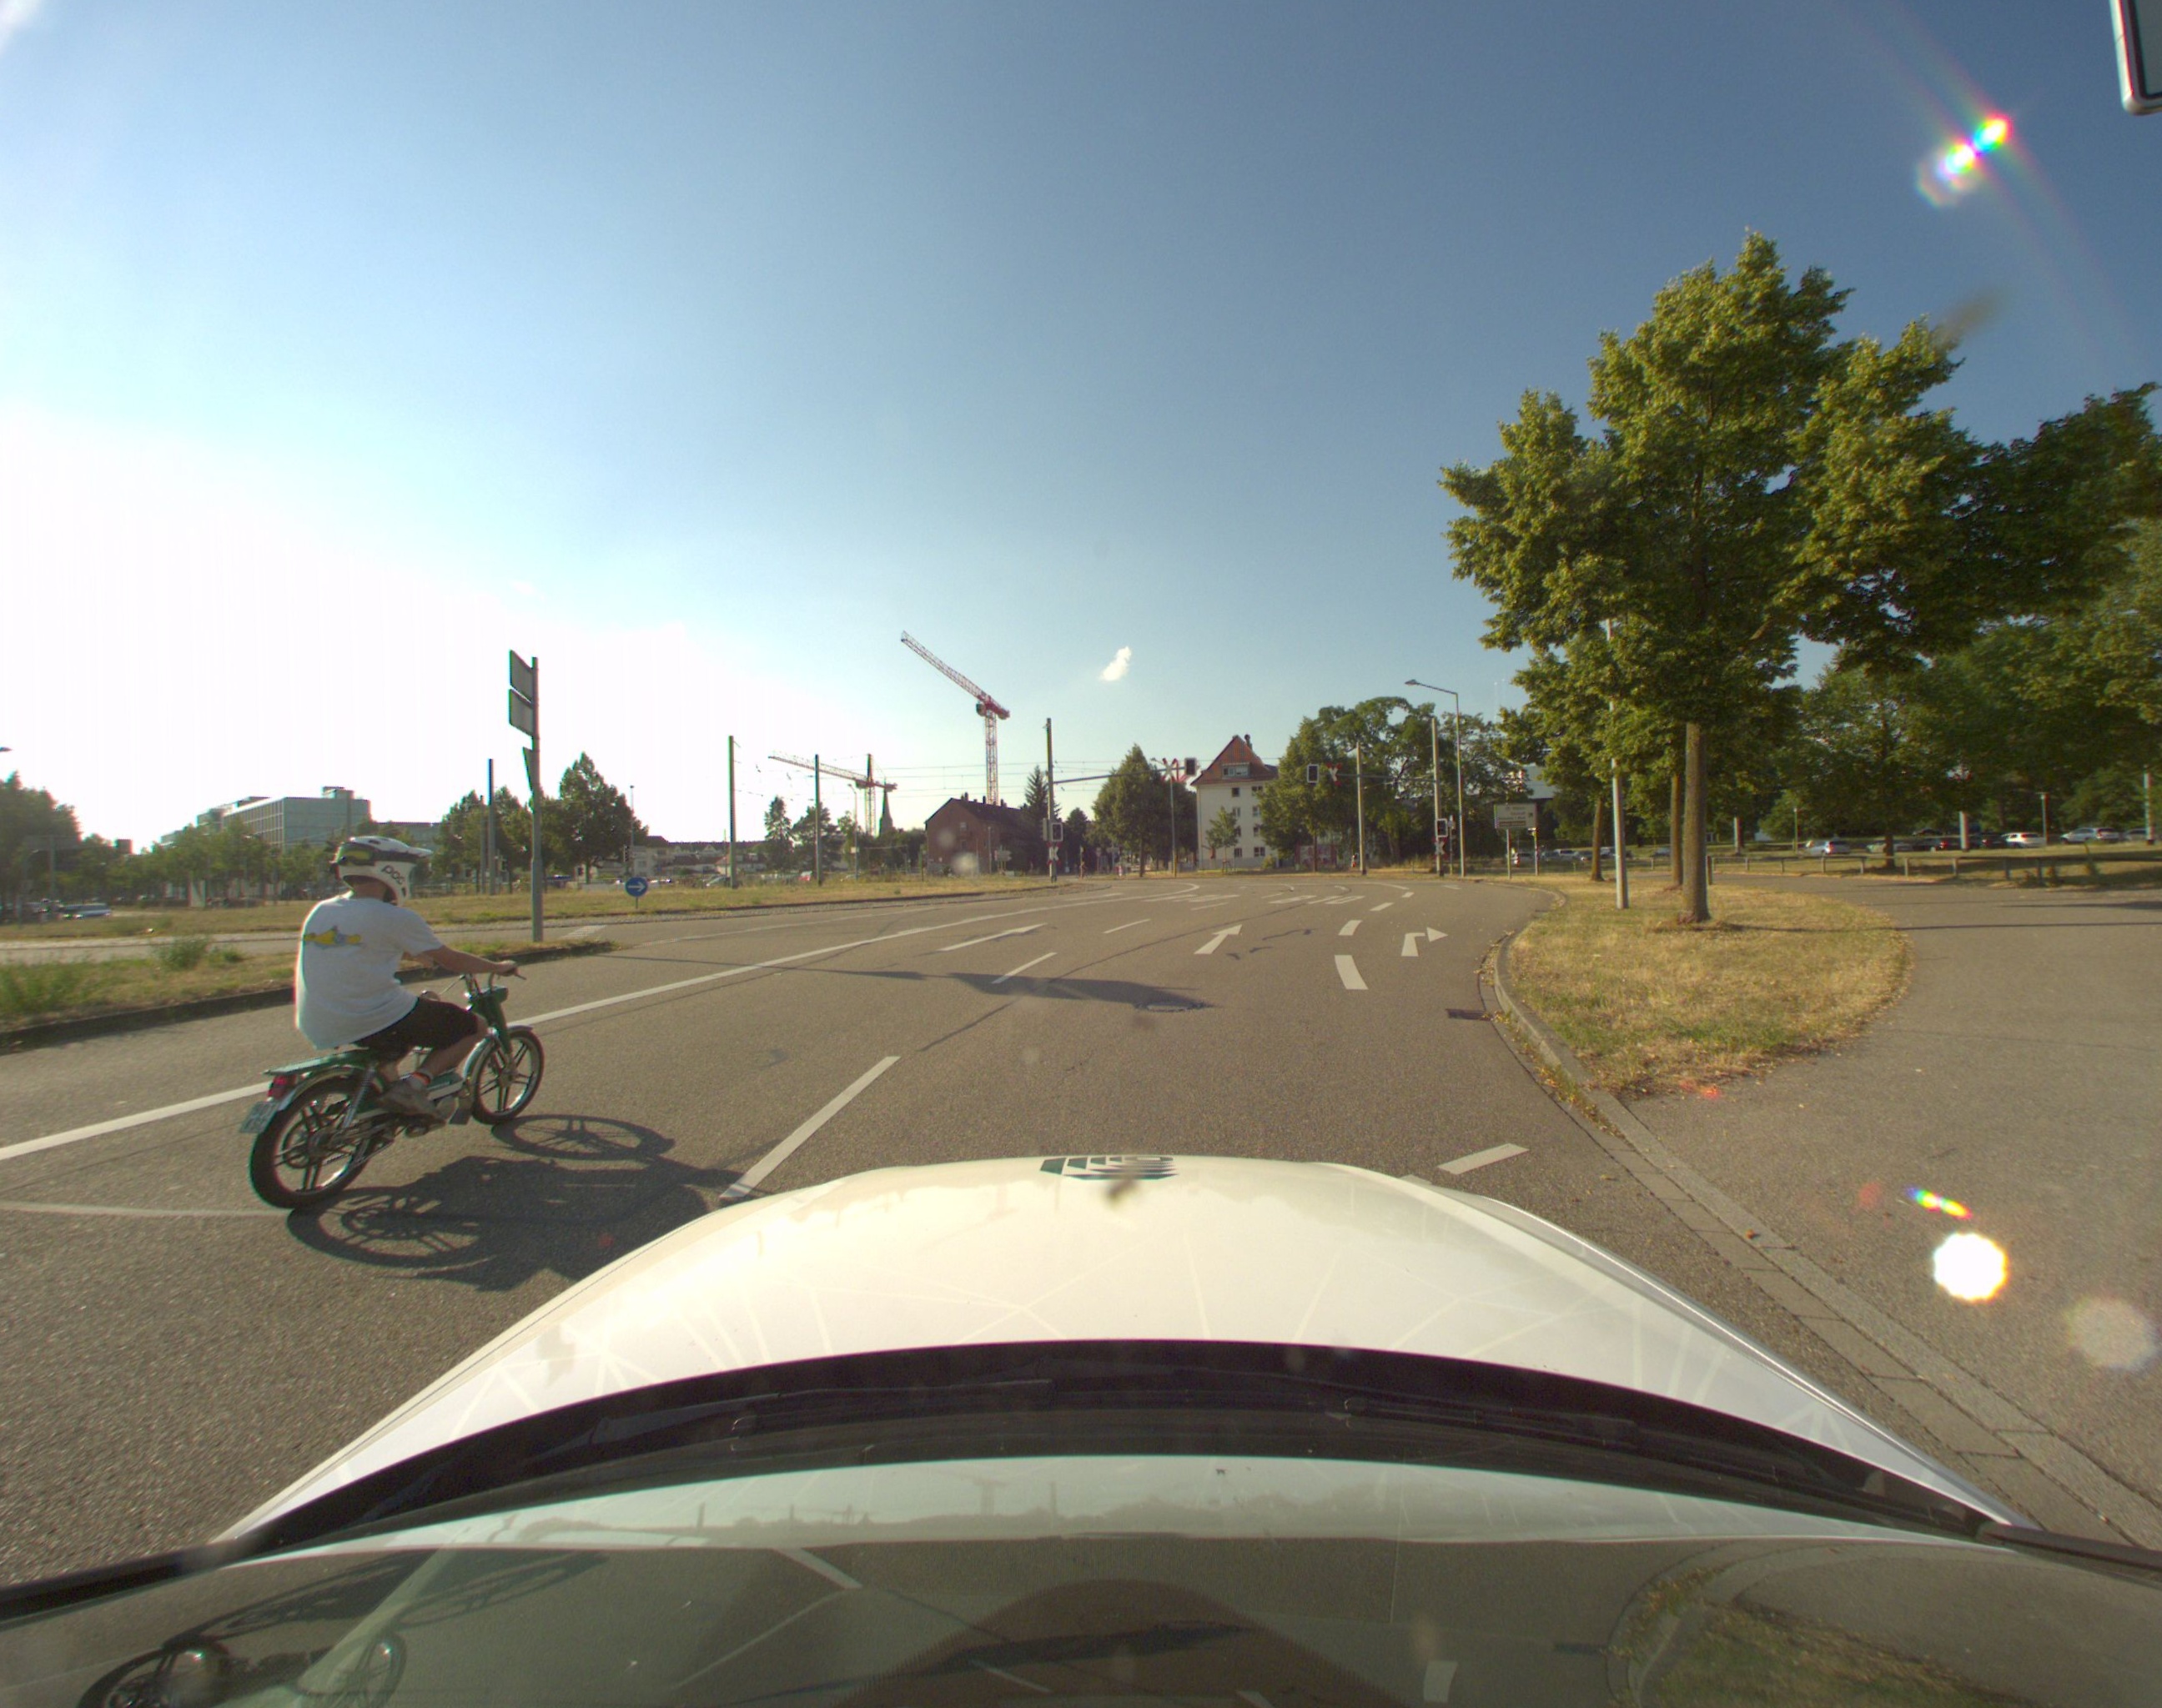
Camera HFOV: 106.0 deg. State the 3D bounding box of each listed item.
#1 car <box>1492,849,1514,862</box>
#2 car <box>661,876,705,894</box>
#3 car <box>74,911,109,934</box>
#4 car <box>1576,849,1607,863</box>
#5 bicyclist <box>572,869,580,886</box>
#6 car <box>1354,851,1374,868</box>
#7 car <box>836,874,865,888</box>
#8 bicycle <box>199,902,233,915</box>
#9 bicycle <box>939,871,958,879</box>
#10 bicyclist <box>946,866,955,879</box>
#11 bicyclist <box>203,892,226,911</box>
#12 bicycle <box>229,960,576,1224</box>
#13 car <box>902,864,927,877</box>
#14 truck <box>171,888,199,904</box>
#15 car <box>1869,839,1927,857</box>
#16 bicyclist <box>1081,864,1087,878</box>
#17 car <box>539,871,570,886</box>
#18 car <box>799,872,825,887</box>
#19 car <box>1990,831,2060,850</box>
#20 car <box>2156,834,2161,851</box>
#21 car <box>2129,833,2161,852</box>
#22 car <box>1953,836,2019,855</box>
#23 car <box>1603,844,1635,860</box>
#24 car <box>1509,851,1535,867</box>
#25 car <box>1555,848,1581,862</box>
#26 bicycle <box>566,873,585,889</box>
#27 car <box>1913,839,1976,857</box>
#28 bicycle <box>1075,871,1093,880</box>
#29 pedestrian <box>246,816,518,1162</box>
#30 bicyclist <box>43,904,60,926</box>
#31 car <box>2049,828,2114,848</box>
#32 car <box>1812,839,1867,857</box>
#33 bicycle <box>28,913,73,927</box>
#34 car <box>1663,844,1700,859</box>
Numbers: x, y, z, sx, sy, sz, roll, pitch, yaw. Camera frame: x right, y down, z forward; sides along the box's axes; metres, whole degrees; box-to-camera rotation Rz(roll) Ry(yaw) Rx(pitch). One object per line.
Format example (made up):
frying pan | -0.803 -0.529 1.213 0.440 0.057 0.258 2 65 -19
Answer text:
car | 46.432 0.165 89.734 1.588 1.402 3.988 -2 -1 20
car | -44.537 3.494 91.152 4.021 1.816 1.976 -1 -1 -41
car | -71.601 4.964 58.928 3.257 1.475 1.494 -2 -1 38
car | 47.810 0.201 76.330 1.588 1.221 3.988 -2 -1 20
bicyclist | -49.193 2.279 79.267 0.610 1.672 0.473 -1 -2 -29
car | 28.132 0.578 81.014 1.756 1.618 3.988 -2 -1 20
car | -34.457 4.073 121.839 3.785 2.014 1.676 -2 -1 10
bicycle | -64.016 4.017 60.274 0.538 0.860 1.628 -2 0 24
bicycle | -14.355 2.291 88.257 1.990 0.825 0.428 -2 -1 -15
bicyclist | -14.152 2.003 88.345 0.899 1.396 0.523 -2 -1 -14
bicyclist | -64.078 3.533 60.228 0.685 1.357 0.963 -2 -1 25
bicycle | -3.410 1.110 4.334 0.477 0.876 1.851 -1 -1 -7
car | -28.381 2.799 138.620 3.785 2.014 1.676 -2 -1 10
truck | -189.981 8.861 172.668 7.080 3.231 3.158 -2 -1 35
car | 70.623 -0.463 70.465 1.808 1.403 4.016 -2 -1 16
bicyclist | 0.322 1.882 91.275 0.623 1.511 0.417 -2 -1 -14
car | -76.930 3.628 118.953 3.950 2.014 2.012 -2 -1 25
car | -34.955 3.355 105.749 1.935 1.854 3.954 -1 -1 -38
car | 78.128 -1.061 67.494 1.808 1.403 4.016 -2 -1 16
car | 88.815 -0.998 64.853 1.808 1.403 4.016 -2 -1 16
car | 86.622 -0.964 64.881 1.808 1.403 4.016 -2 -1 16
car | 75.636 -0.682 68.130 1.808 1.403 4.016 -2 -1 16
car | 49.996 -0.144 75.738 1.588 1.402 3.988 -2 -1 20
car | 42.229 0.512 77.983 1.588 1.402 3.988 -2 -1 20
car | 52.159 0.113 87.224 1.588 1.402 3.988 -2 -1 20
bicycle | -49.190 2.636 79.240 1.548 1.473 0.475 -2 -1 -29
car | 73.131 -0.477 69.059 1.808 1.403 4.016 -2 -1 16
bicycle | 0.358 2.393 91.269 1.990 0.918 0.428 -2 -1 -15
pedestrian | -3.437 0.601 4.095 0.655 1.519 0.852 -2 -1 -8
bicyclist | -65.230 3.878 51.603 0.512 1.325 0.658 -2 -1 35
car | 92.927 -1.495 75.696 1.808 1.672 4.016 -2 -1 16
car | 66.170 -0.522 71.091 1.808 1.403 4.016 -2 -1 16
bicycle | -65.219 4.177 51.562 0.474 0.744 1.733 -2 -1 35
car | 54.398 -0.209 73.821 1.588 1.310 3.988 -2 -1 20
